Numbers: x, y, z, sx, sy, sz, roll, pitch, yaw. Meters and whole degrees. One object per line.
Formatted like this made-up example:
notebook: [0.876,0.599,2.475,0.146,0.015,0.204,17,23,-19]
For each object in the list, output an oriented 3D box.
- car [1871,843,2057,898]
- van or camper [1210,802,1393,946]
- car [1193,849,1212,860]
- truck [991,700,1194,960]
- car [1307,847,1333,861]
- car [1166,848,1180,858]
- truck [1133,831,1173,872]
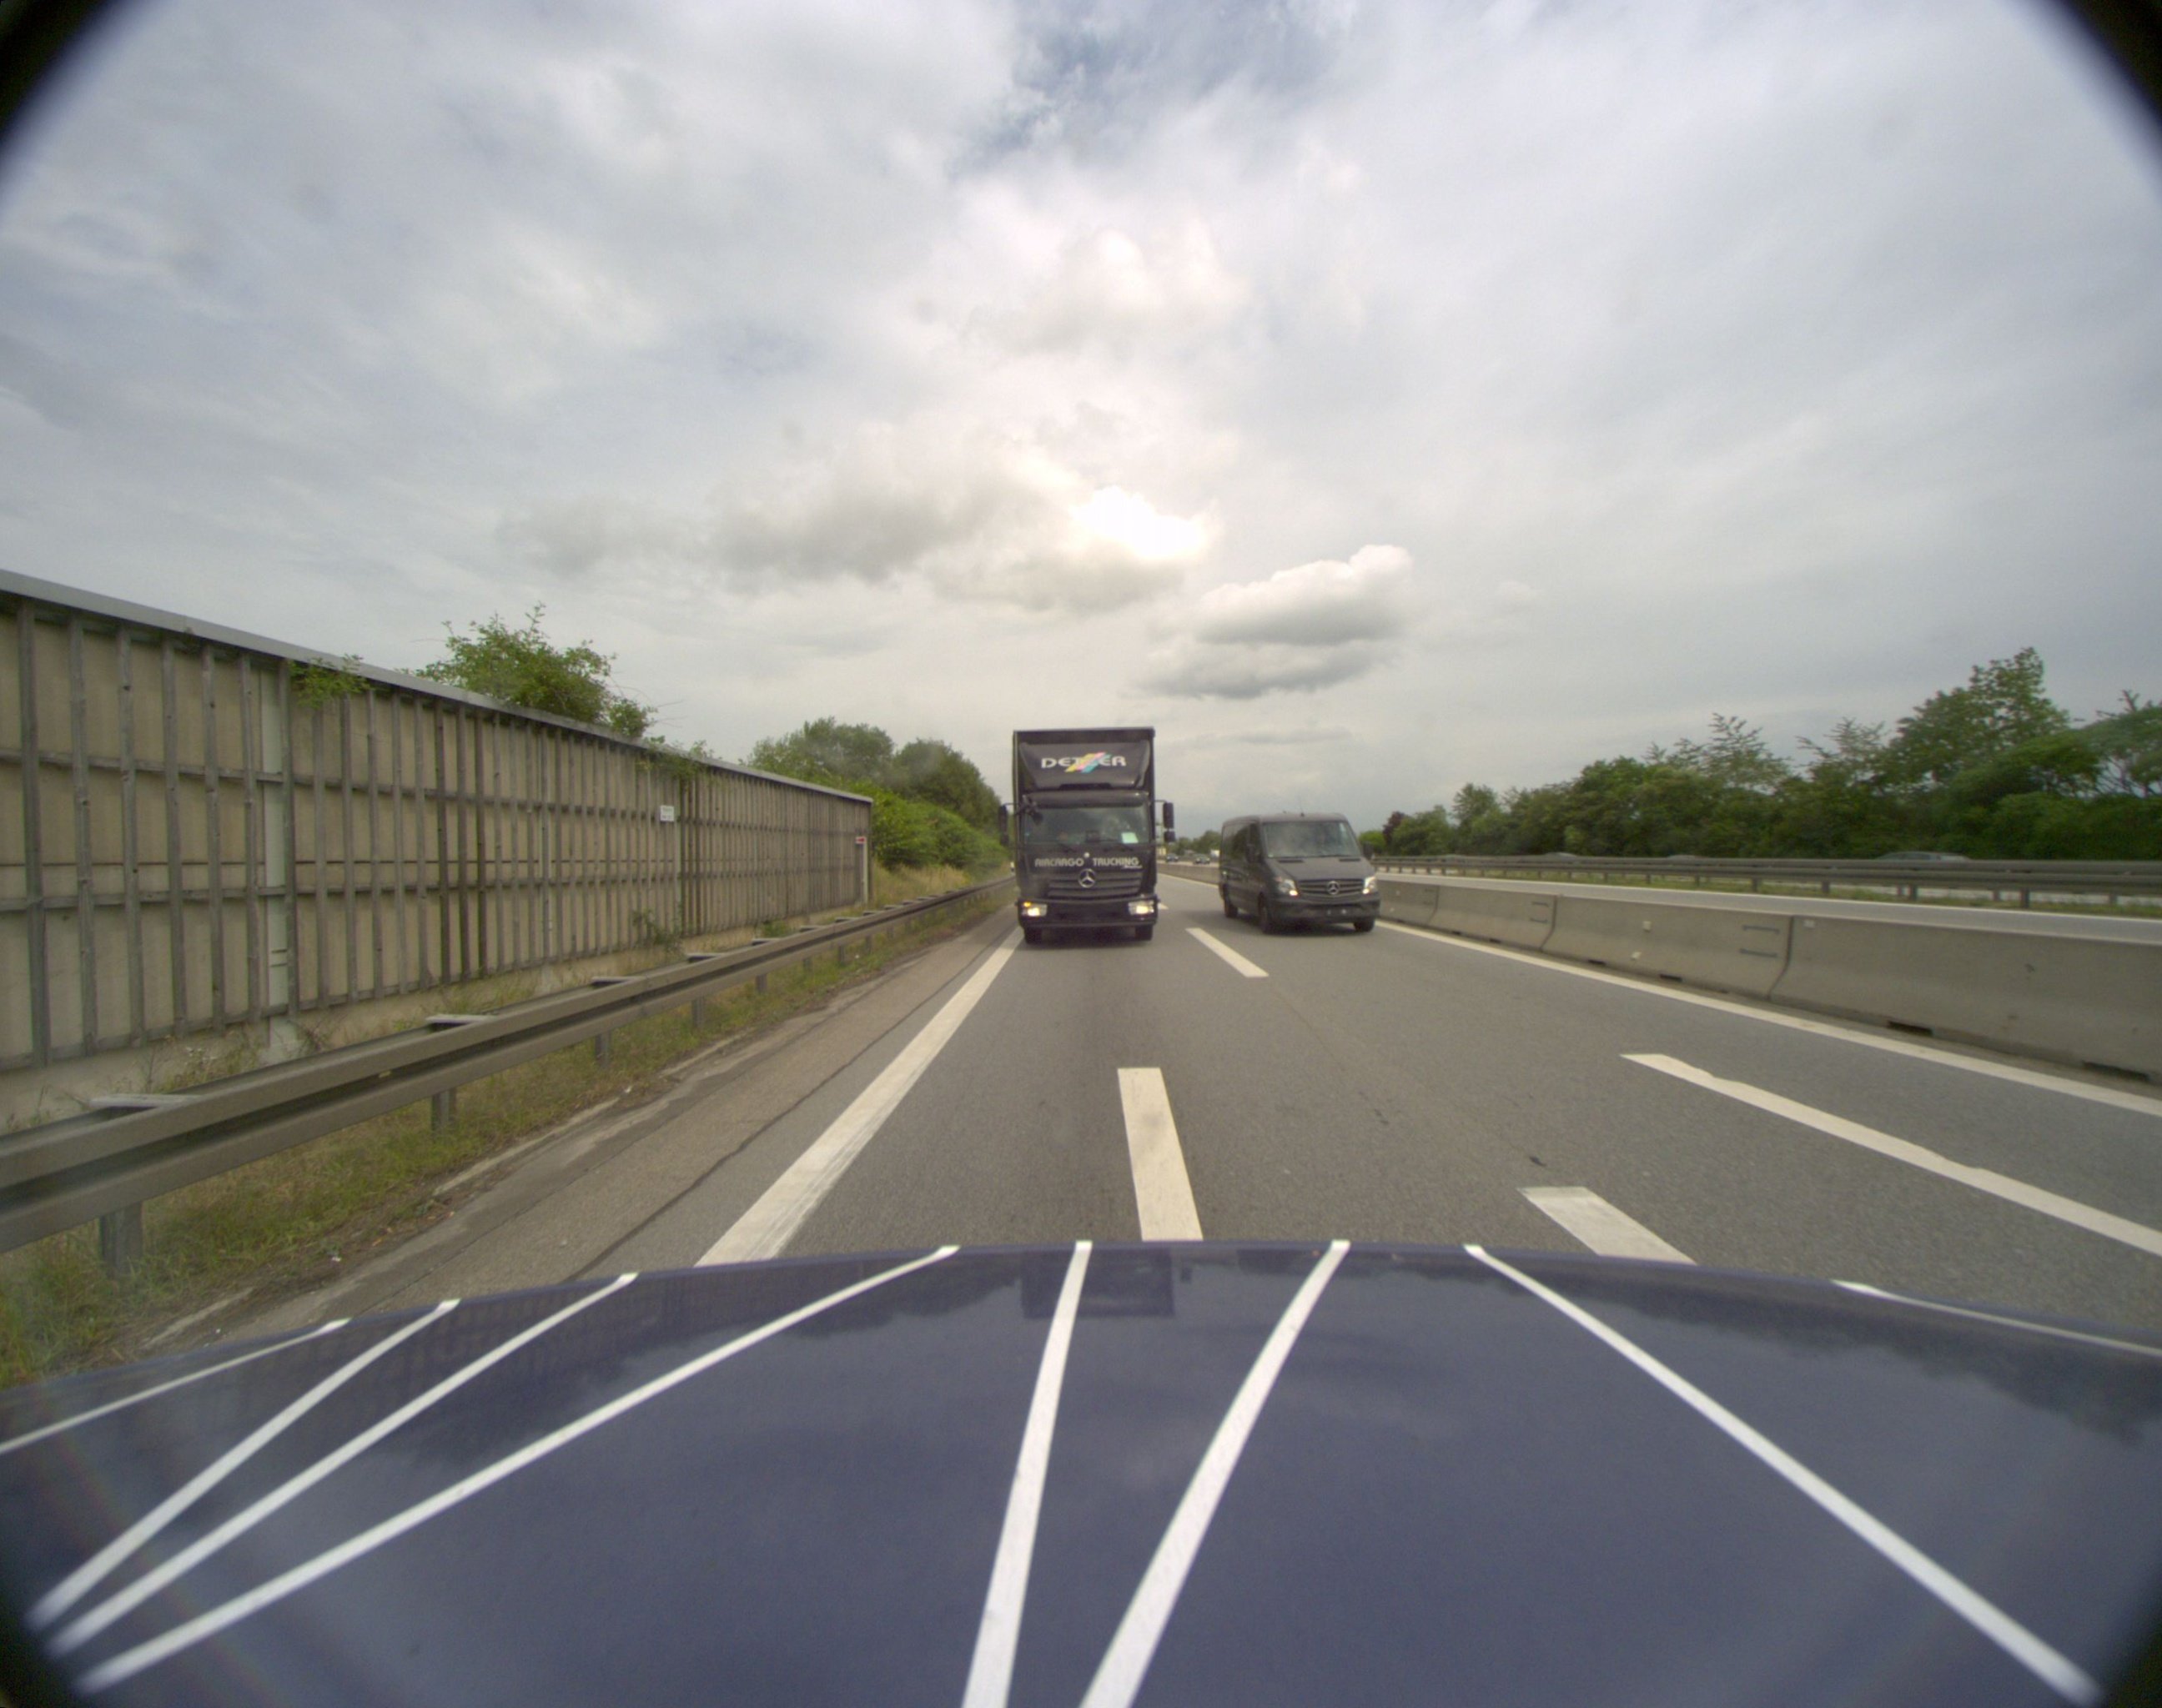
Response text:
car: [30.338,0.516,26.315,1.692,1.718,3.999,-1,0,-3]
van or camper: [4.219,0.323,15.797,2.004,2.357,6.126,-1,0,0]
car: [16.366,0.059,102.529,1.777,1.441,4.383,-2,0,0]
truck: [0.013,-0.395,16.913,3.025,3.931,10.337,-2,0,-2]
car: [28.301,-0.002,90.244,1.737,1.511,3.718,-1,0,-3]
car: [16.585,-0.155,136.833,1.999,1.652,4.383,-2,0,-1]
truck: [5.729,-0.215,61.324,2.410,3.072,6.369,-2,0,-1]
